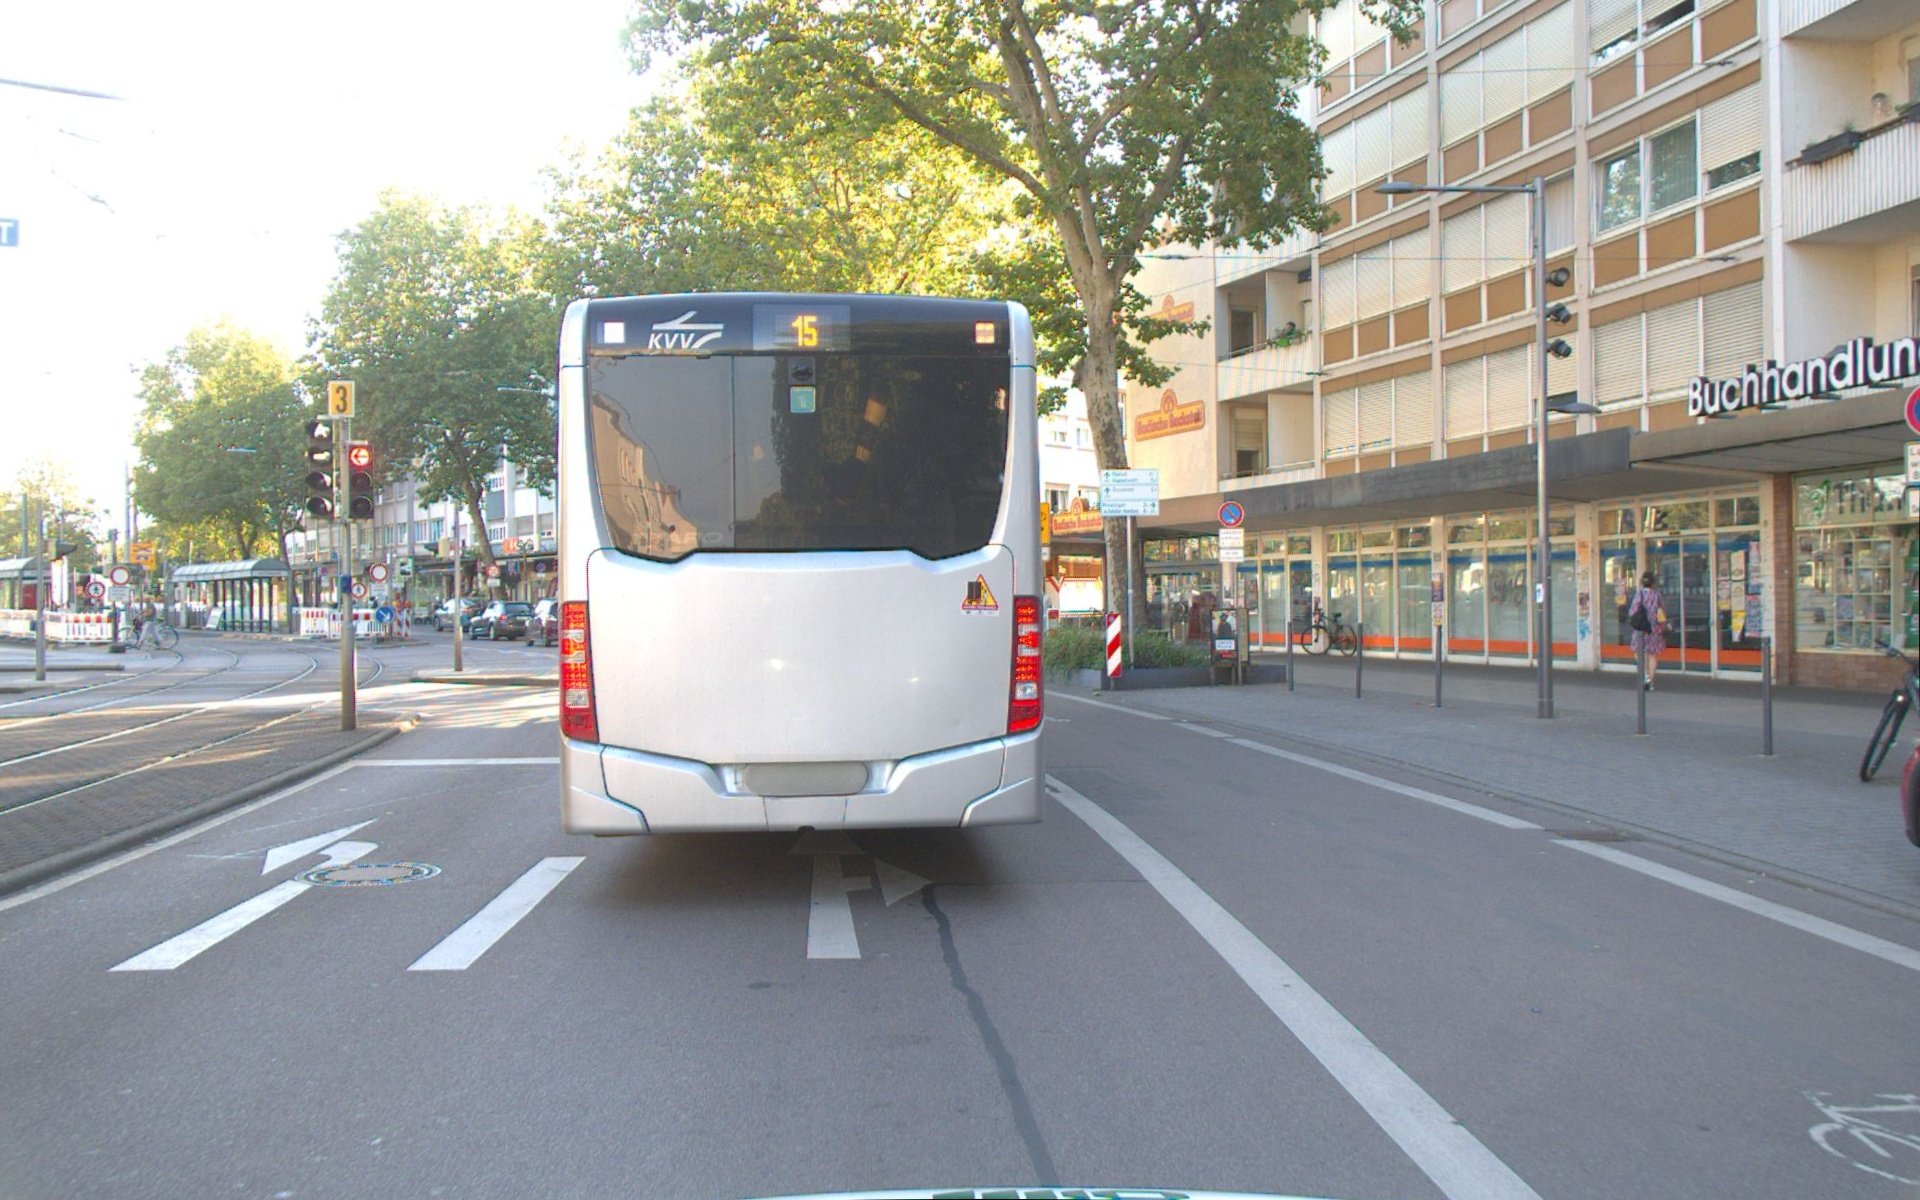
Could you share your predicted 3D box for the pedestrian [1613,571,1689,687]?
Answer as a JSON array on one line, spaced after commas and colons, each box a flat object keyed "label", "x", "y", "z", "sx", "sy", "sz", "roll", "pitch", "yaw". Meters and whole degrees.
[{"label": "pedestrian", "x": 9.679, "y": 0.399, "z": 23.187, "sx": 0.628, "sy": 1.579, "sz": 0.805, "roll": -1, "pitch": 0, "yaw": -13}]

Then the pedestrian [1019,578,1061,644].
[{"label": "pedestrian", "x": 2.173, "y": 0.291, "z": 44.898, "sx": 0.824, "sy": 1.742, "sz": 0.787, "roll": -3, "pitch": 1, "yaw": -24}]

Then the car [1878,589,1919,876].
[{"label": "car", "x": 6.077, "y": 0.672, "z": 6.852, "sx": 1.743, "sy": 1.522, "sz": 4.564, "roll": -3, "pitch": 0, "yaw": -4}]

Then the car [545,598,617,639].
[{"label": "car", "x": -15.678, "y": 0.726, "z": 68.285, "sx": 1.650, "sy": 1.542, "sz": 3.369, "roll": -4, "pitch": 3, "yaw": -36}]

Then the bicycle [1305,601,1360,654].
[{"label": "bicycle", "x": 8.169, "y": 0.595, "z": 36.331, "sx": 0.431, "sy": 1.111, "sz": 1.454, "roll": -3, "pitch": 1, "yaw": -19}]

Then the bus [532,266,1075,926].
[{"label": "bus", "x": -1.324, "y": -0.011, "z": 13.136, "sx": 2.607, "sy": 3.153, "sz": 10.200, "roll": -1, "pitch": 0, "yaw": -7}]

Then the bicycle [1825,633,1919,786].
[{"label": "bicycle", "x": 7.342, "y": 0.829, "z": 12.510, "sx": 0.502, "sy": 1.089, "sz": 1.658, "roll": -3, "pitch": 0, "yaw": -9}]

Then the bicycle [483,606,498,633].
[{"label": "bicycle", "x": -21.554, "y": 0.885, "z": 75.933, "sx": 0.499, "sy": 1.232, "sz": 2.080, "roll": -1, "pitch": 0, "yaw": -20}]

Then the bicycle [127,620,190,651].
[{"label": "bicycle", "x": -26.373, "y": 1.153, "z": 54.448, "sx": 1.831, "sy": 0.959, "sz": 0.456, "roll": -1, "pitch": 0, "yaw": -42}]

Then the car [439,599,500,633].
[{"label": "car", "x": -23.439, "y": 0.751, "z": 79.040, "sx": 1.650, "sy": 1.494, "sz": 3.367, "roll": -5, "pitch": 3, "yaw": -37}]

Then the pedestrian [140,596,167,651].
[{"label": "pedestrian", "x": -26.299, "y": 0.754, "z": 53.922, "sx": 0.716, "sy": 1.755, "sz": 0.393, "roll": -1, "pitch": 0, "yaw": -43}]

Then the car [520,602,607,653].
[{"label": "car", "x": -12.249, "y": 0.822, "z": 50.887, "sx": 1.735, "sy": 1.489, "sz": 3.965, "roll": -1, "pitch": 0, "yaw": -27}]
